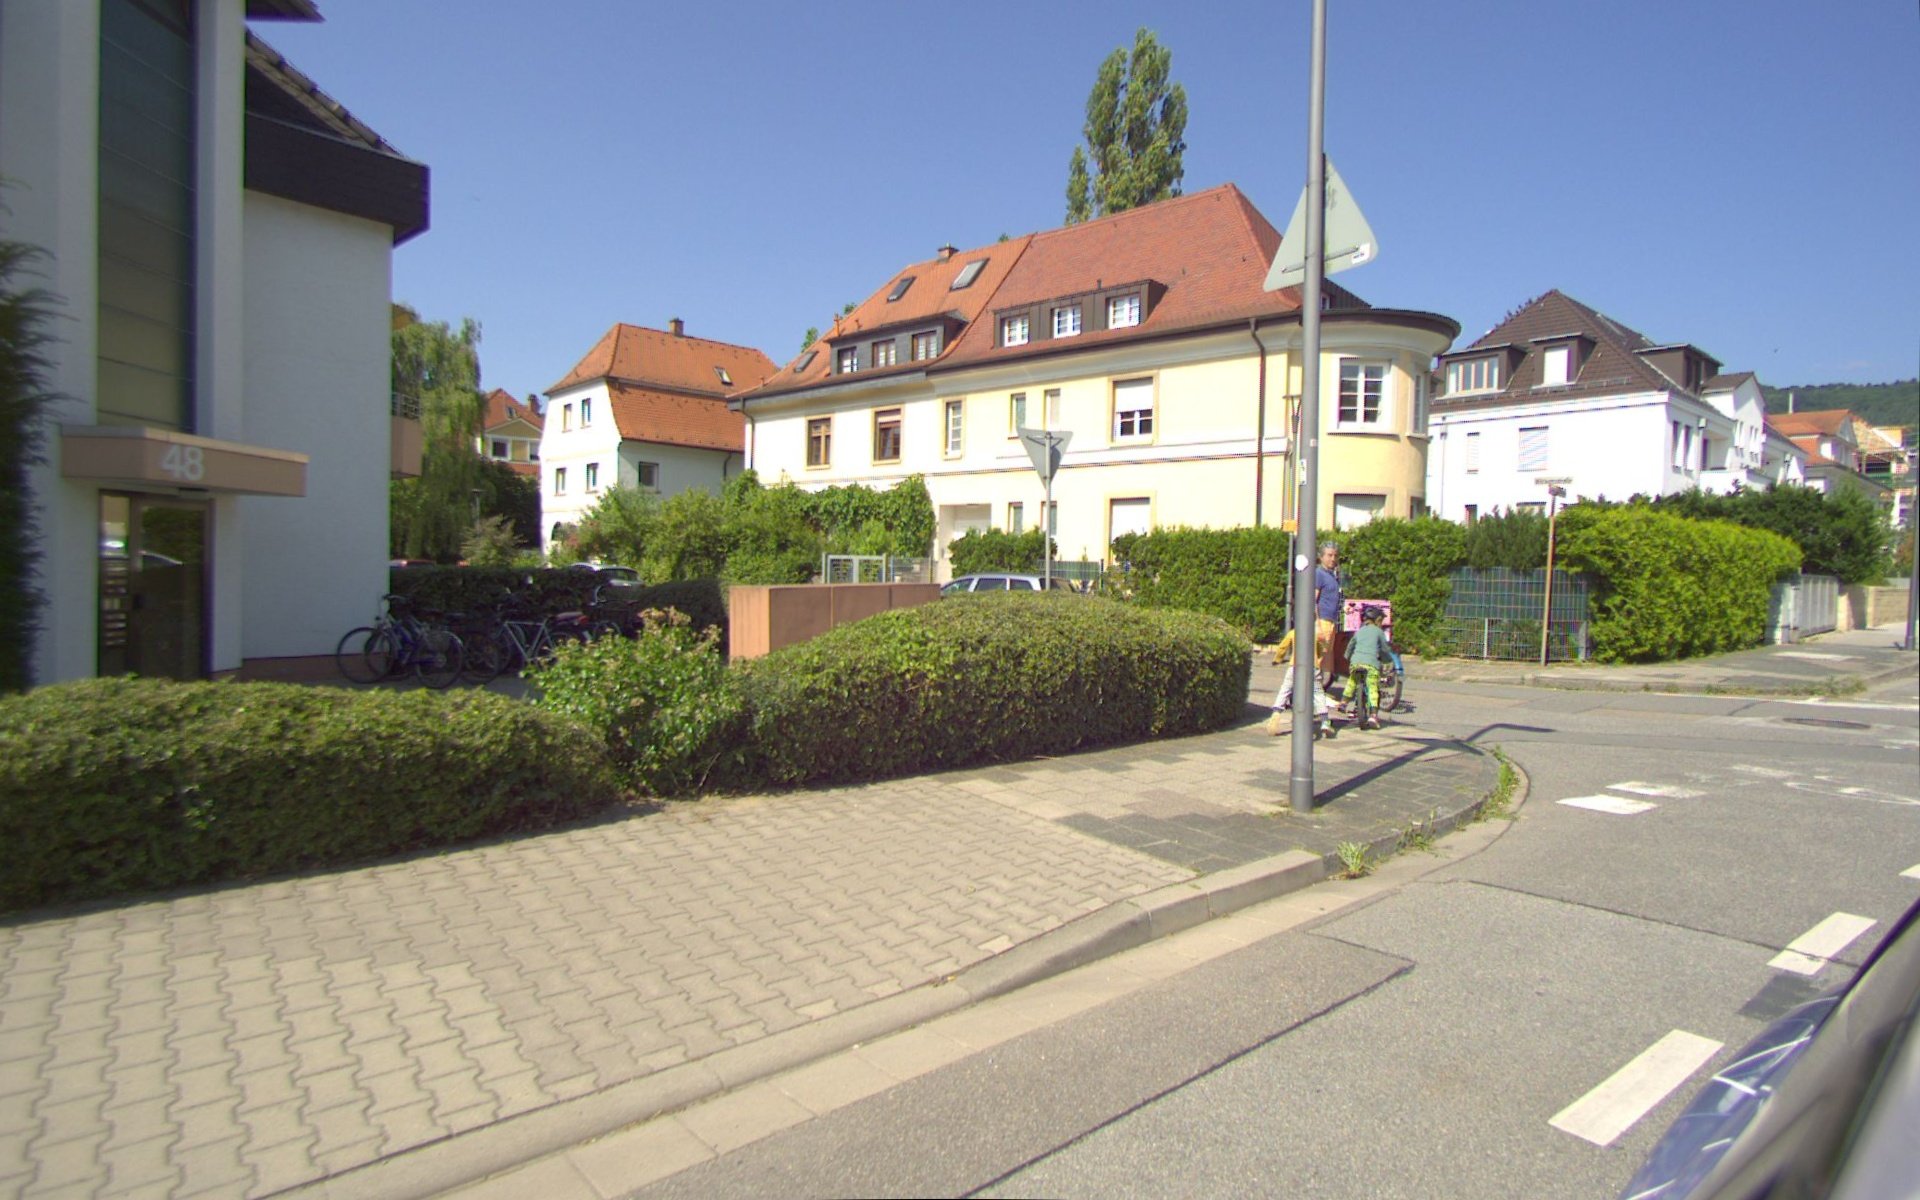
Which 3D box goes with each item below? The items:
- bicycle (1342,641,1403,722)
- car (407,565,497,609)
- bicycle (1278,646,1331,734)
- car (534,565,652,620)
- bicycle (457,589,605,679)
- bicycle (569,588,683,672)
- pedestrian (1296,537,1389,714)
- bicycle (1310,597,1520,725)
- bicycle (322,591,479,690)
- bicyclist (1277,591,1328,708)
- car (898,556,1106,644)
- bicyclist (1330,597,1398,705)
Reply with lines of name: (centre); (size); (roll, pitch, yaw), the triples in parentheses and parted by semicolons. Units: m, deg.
bicycle: (3.822, 0.735, 9.415); (0.397, 0.606, 1.168); (1, 2, 16)
car: (-19.690, -0.540, 39.136); (3.984, 1.587, 1.784); (2, 2, 42)
bicycle: (2.976, 0.753, 8.742); (0.397, 0.606, 1.144); (1, 2, 19)
car: (-11.433, -0.289, 31.385); (3.984, 1.587, 1.784); (2, 2, 42)
bicycle: (-5.877, 0.453, 13.897); (1.791, 1.109, 0.631); (2, 2, 7)
bicycle: (-5.005, 0.418, 15.118); (1.810, 1.109, 0.625); (4, 3, 33)
pedestrian: (4.336, 0.249, 11.560); (0.889, 1.895, 1.183); (1, 2, 17)
bicycle: (5.026, 0.605, 11.474); (0.846, 1.172, 2.716); (0, 2, -8)
bicycle: (-6.958, 0.490, 12.621); (1.657, 1.109, 0.631); (2, 2, 7)
bicyclist: (2.957, 0.409, 8.725); (0.395, 0.945, 0.605); (1, 2, 20)
car: (0.771, -0.069, 20.360); (3.984, 1.587, 1.784); (2, 2, 42)
bicyclist: (3.757, 0.455, 9.403); (0.401, 0.941, 0.648); (2, 2, 40)
